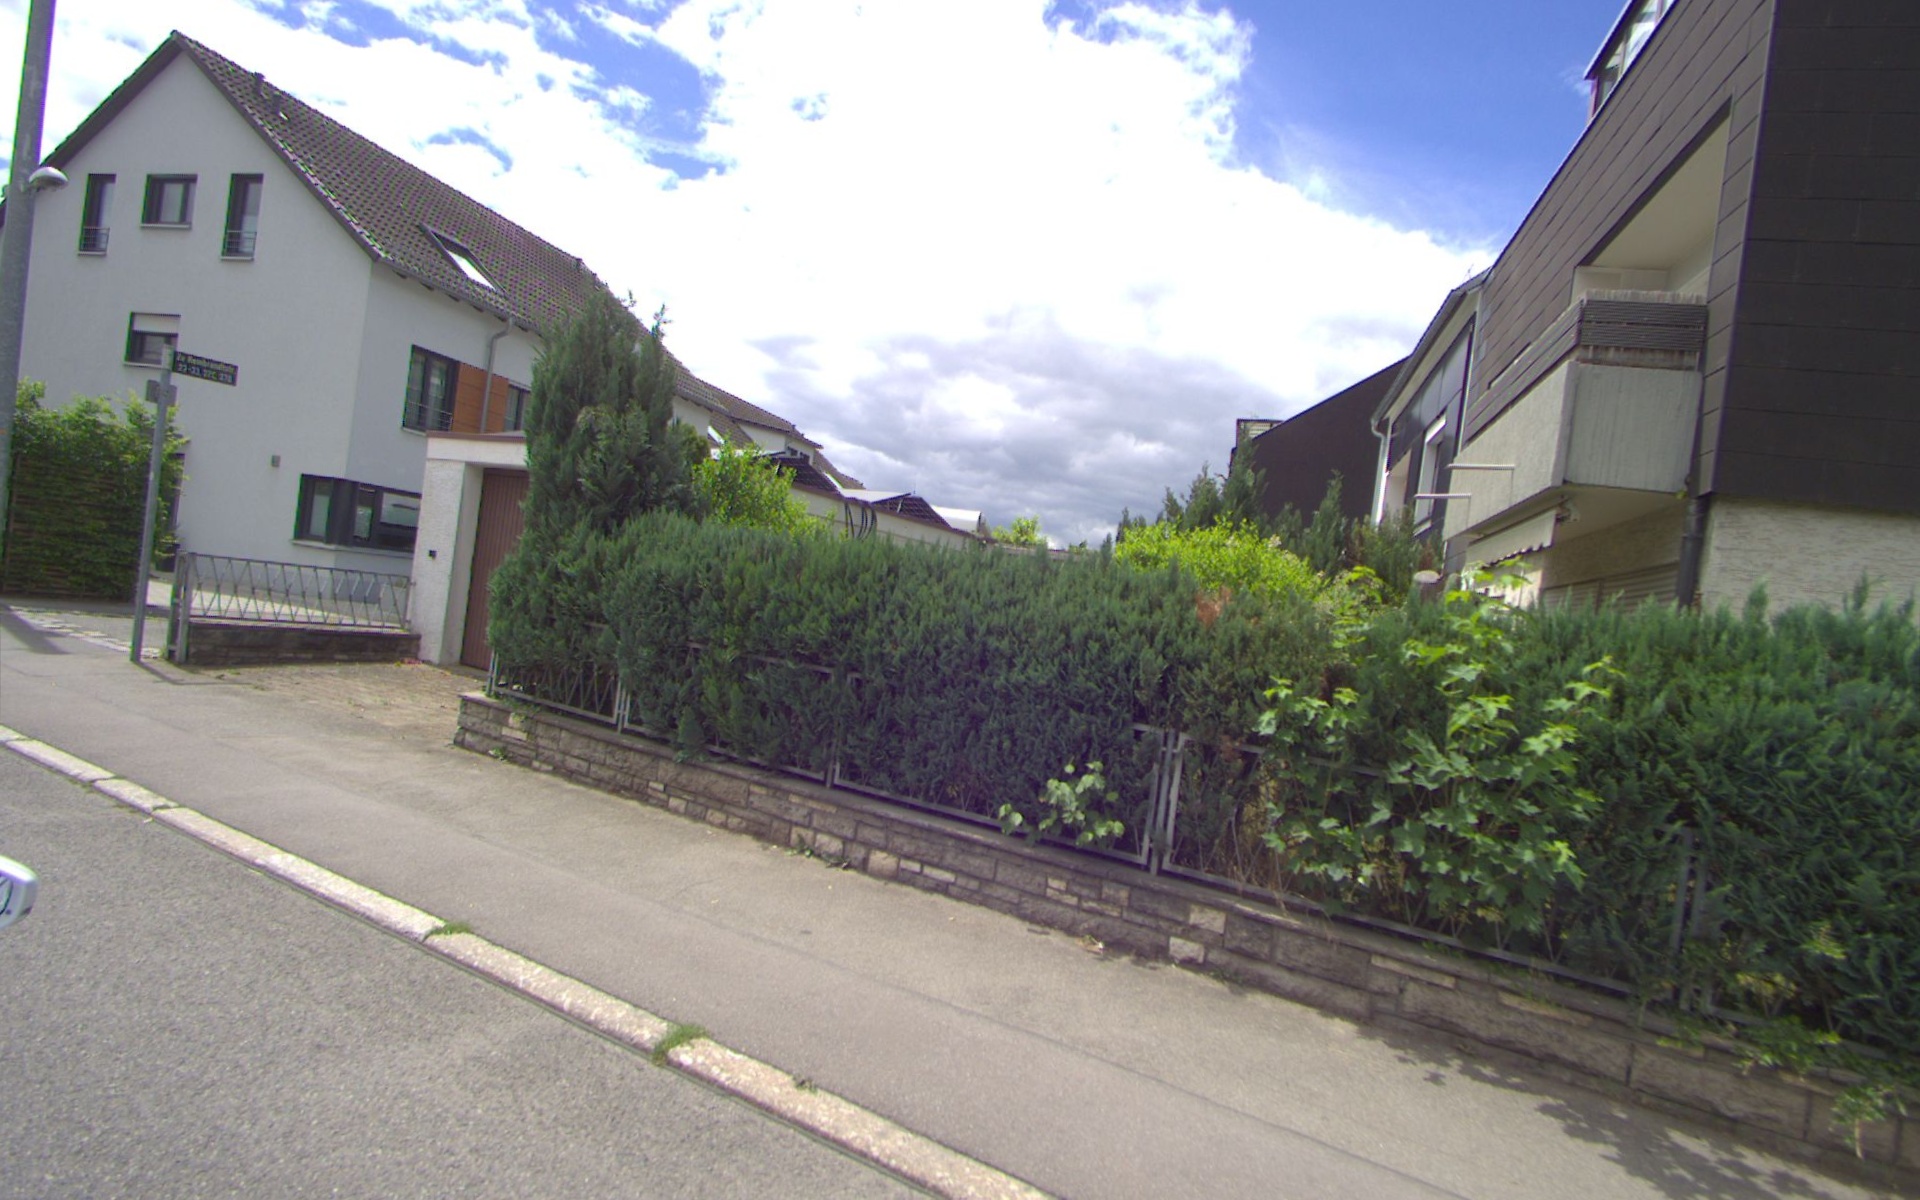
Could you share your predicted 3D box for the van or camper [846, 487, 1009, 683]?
[{"bbox_3d":[-0.391,-0.041,23.014,2.373,3.339,8.696,8,-2,5],"label":"van or camper"}]
